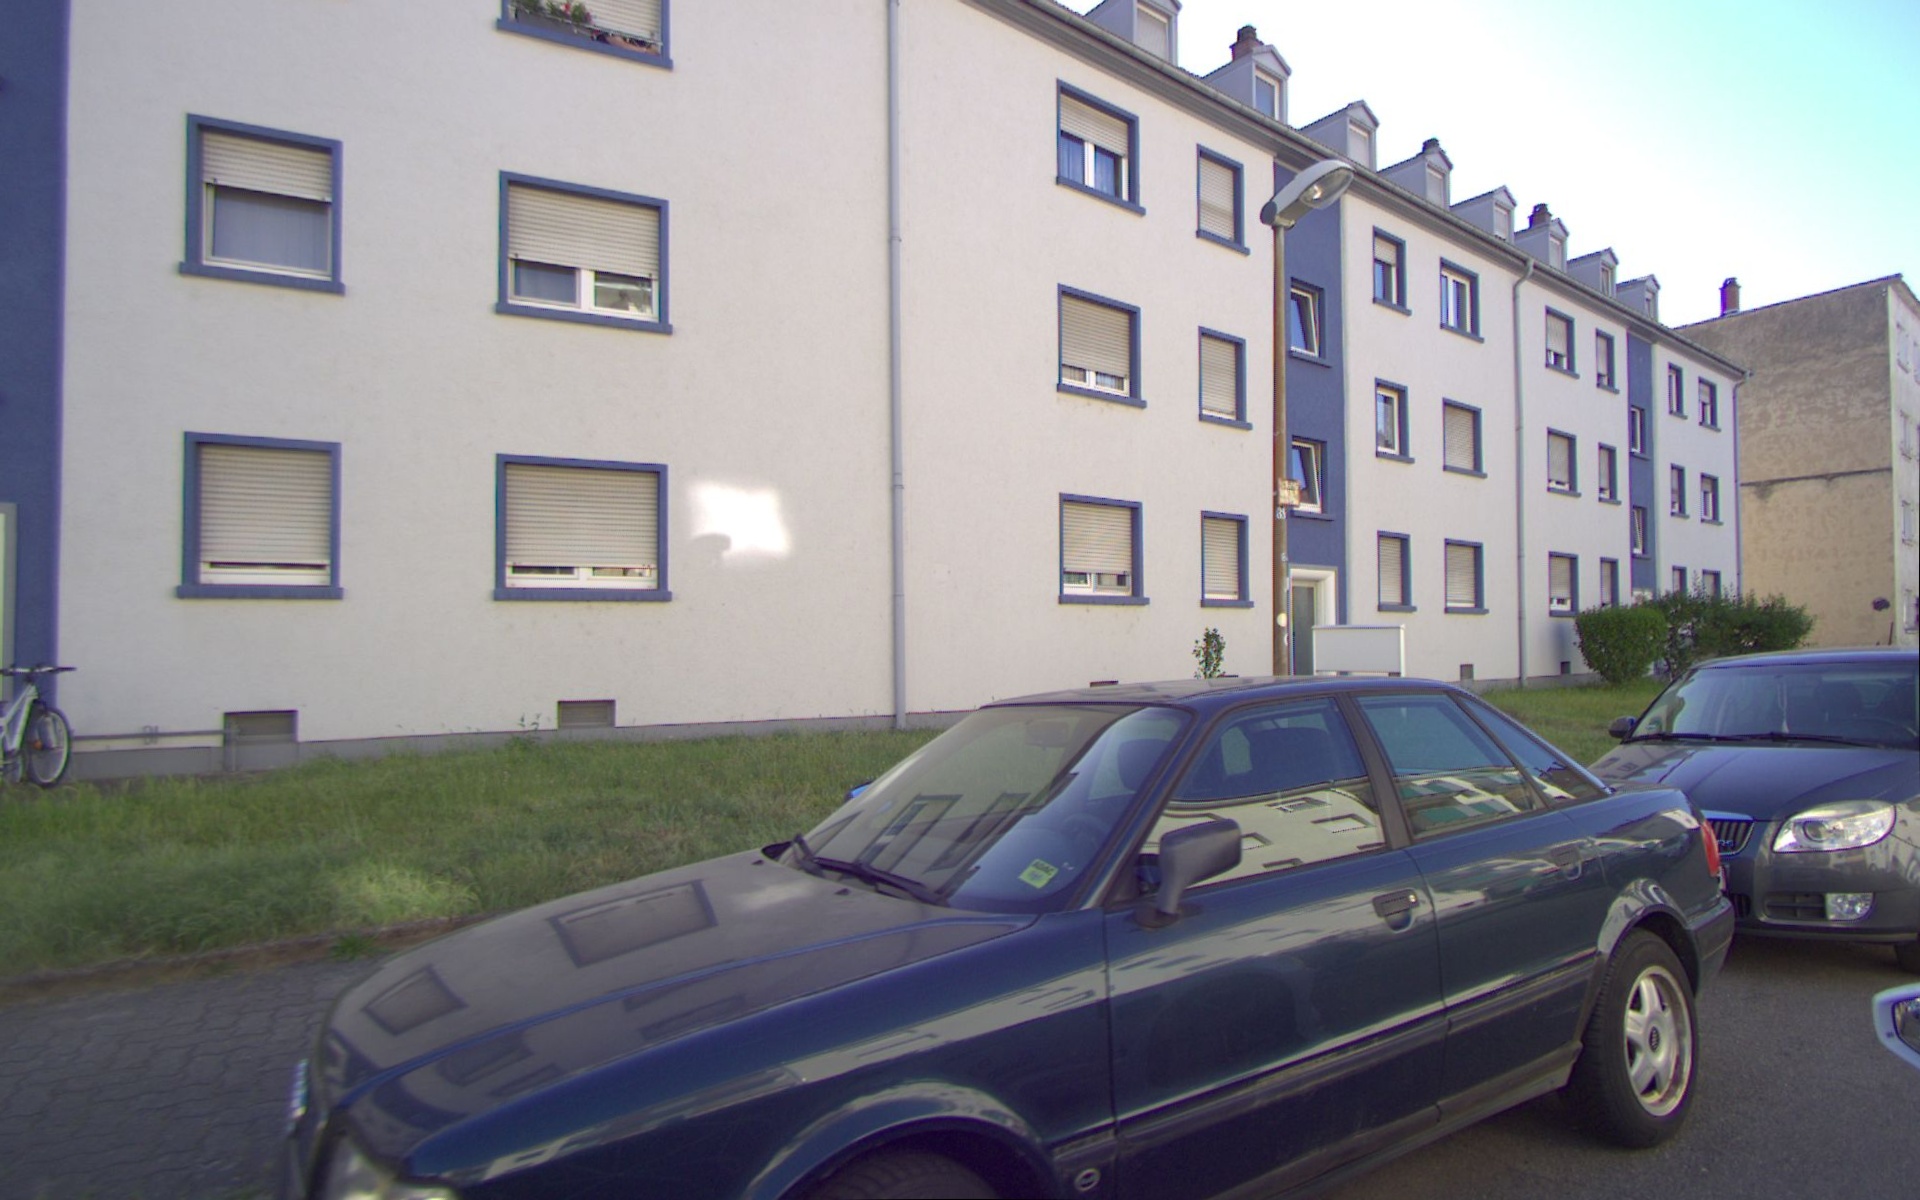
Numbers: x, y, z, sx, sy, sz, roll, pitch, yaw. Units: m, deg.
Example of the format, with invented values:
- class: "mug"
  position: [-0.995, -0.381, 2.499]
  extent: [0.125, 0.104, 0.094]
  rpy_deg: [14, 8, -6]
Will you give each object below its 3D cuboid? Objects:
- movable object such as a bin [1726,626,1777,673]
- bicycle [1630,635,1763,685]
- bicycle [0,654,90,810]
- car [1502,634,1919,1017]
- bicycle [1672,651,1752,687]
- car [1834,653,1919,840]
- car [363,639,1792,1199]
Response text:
- class: "movable object such as a bin"
  position: [26.988, 1.690, 34.269]
  extent: [1.347, 1.559, 1.059]
  rpy_deg: [2, -5, -41]
- class: "bicycle"
  position: [18.729, 1.498, 25.619]
  extent: [0.768, 1.145, 2.642]
  rpy_deg: [1, 0, -44]
- class: "bicycle"
  position: [-7.529, 1.012, 7.773]
  extent: [0.559, 1.093, 1.818]
  rpy_deg: [0, 0, -19]
- class: "car"
  position: [4.794, 0.994, 5.544]
  extent: [3.590, 1.495, 1.472]
  rpy_deg: [1, -7, -31]
- class: "bicycle"
  position: [20.586, 1.890, 27.524]
  extent: [0.542, 0.948, 1.636]
  rpy_deg: [1, -5, -36]
- class: "car"
  position: [9.585, 1.157, 8.777]
  extent: [4.550, 1.449, 1.734]
  rpy_deg: [1, -6, -34]
- class: "car"
  position: [0.682, 0.914, 3.016]
  extent: [4.216, 1.483, 1.560]
  rpy_deg: [1, -4, -33]
